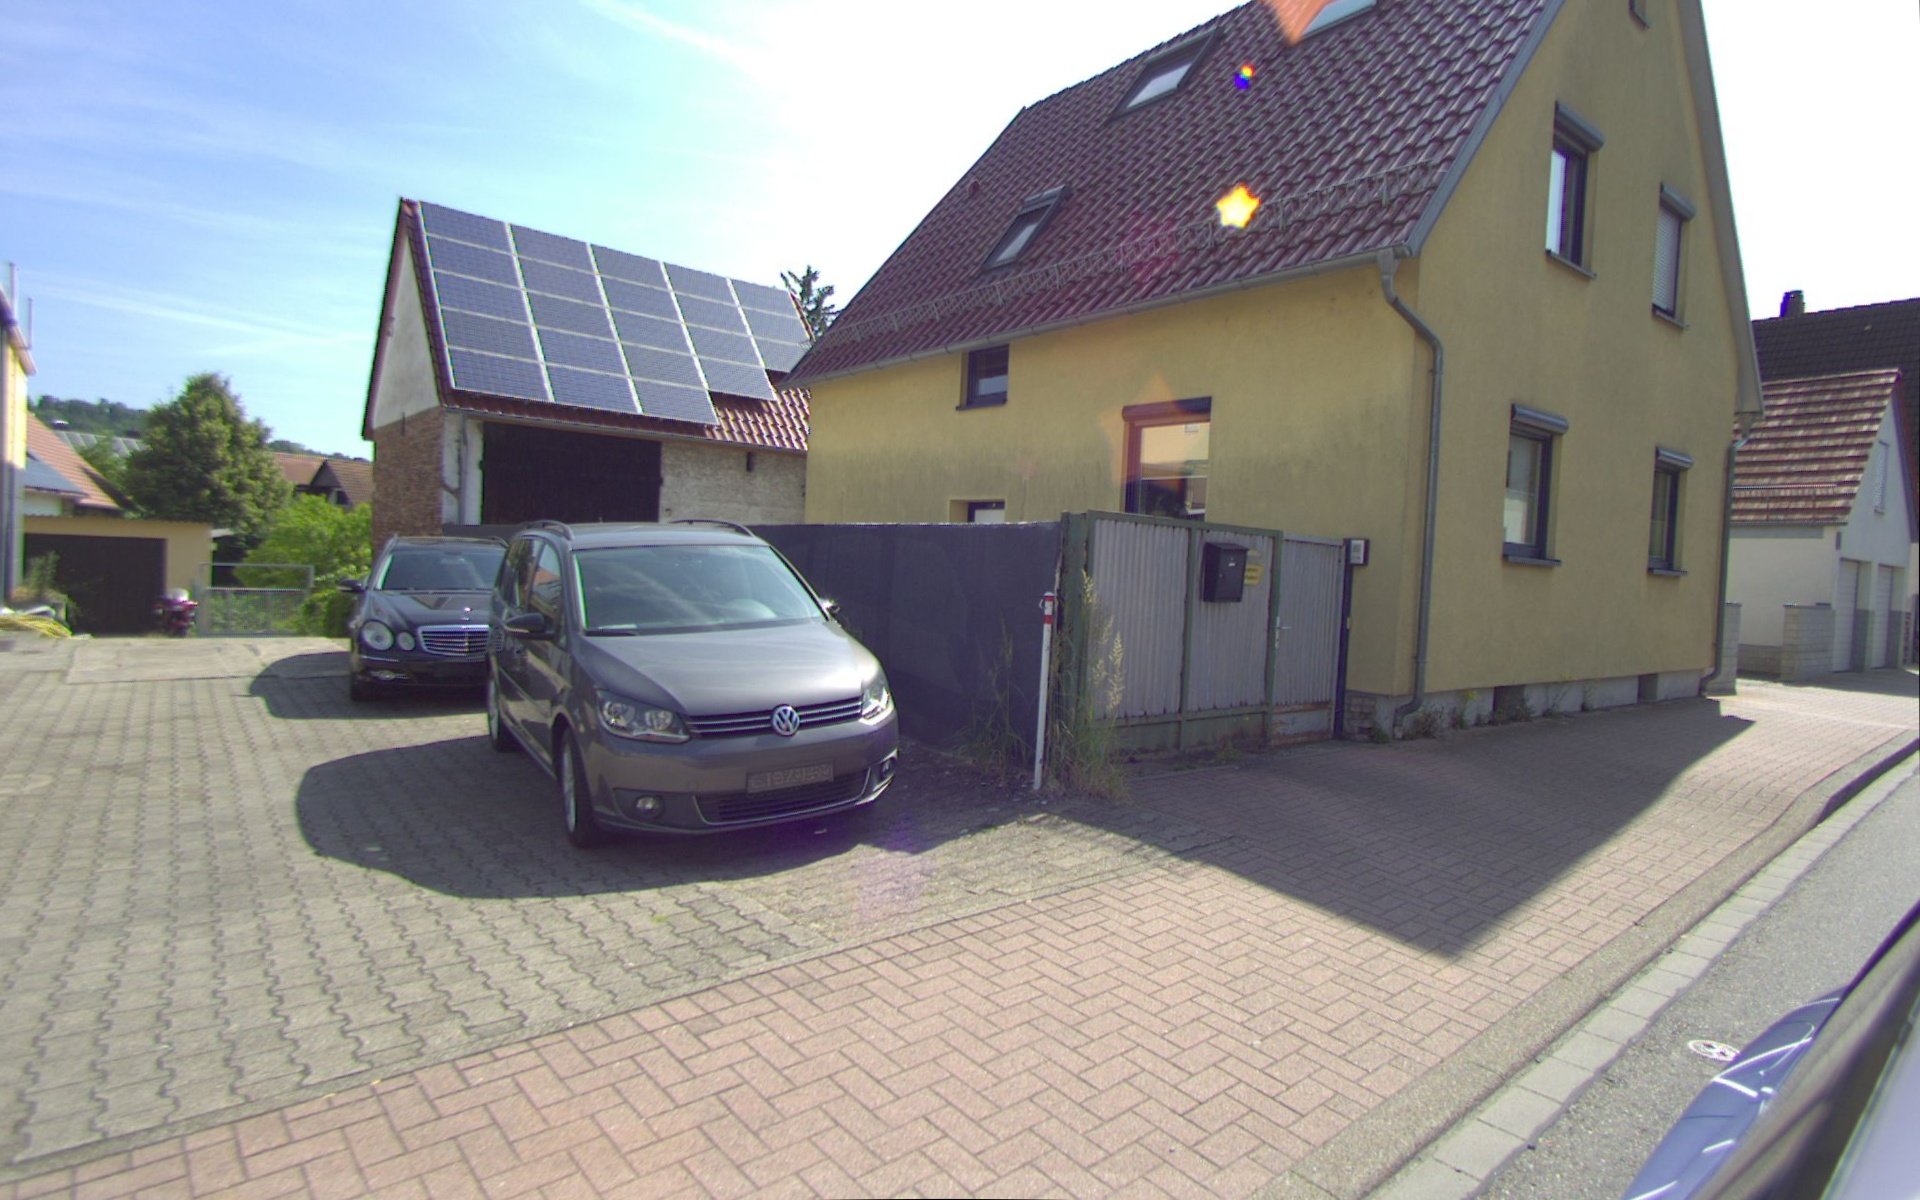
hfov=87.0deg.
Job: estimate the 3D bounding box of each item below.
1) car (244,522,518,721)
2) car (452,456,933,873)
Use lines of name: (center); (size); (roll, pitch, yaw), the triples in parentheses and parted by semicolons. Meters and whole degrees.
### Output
car: (-5.835, 0.023, 10.306); (1.948, 1.526, 4.563); (0, 4, -30)
car: (-2.053, 0.238, 6.577); (1.704, 1.767, 4.344); (0, 1, -34)
